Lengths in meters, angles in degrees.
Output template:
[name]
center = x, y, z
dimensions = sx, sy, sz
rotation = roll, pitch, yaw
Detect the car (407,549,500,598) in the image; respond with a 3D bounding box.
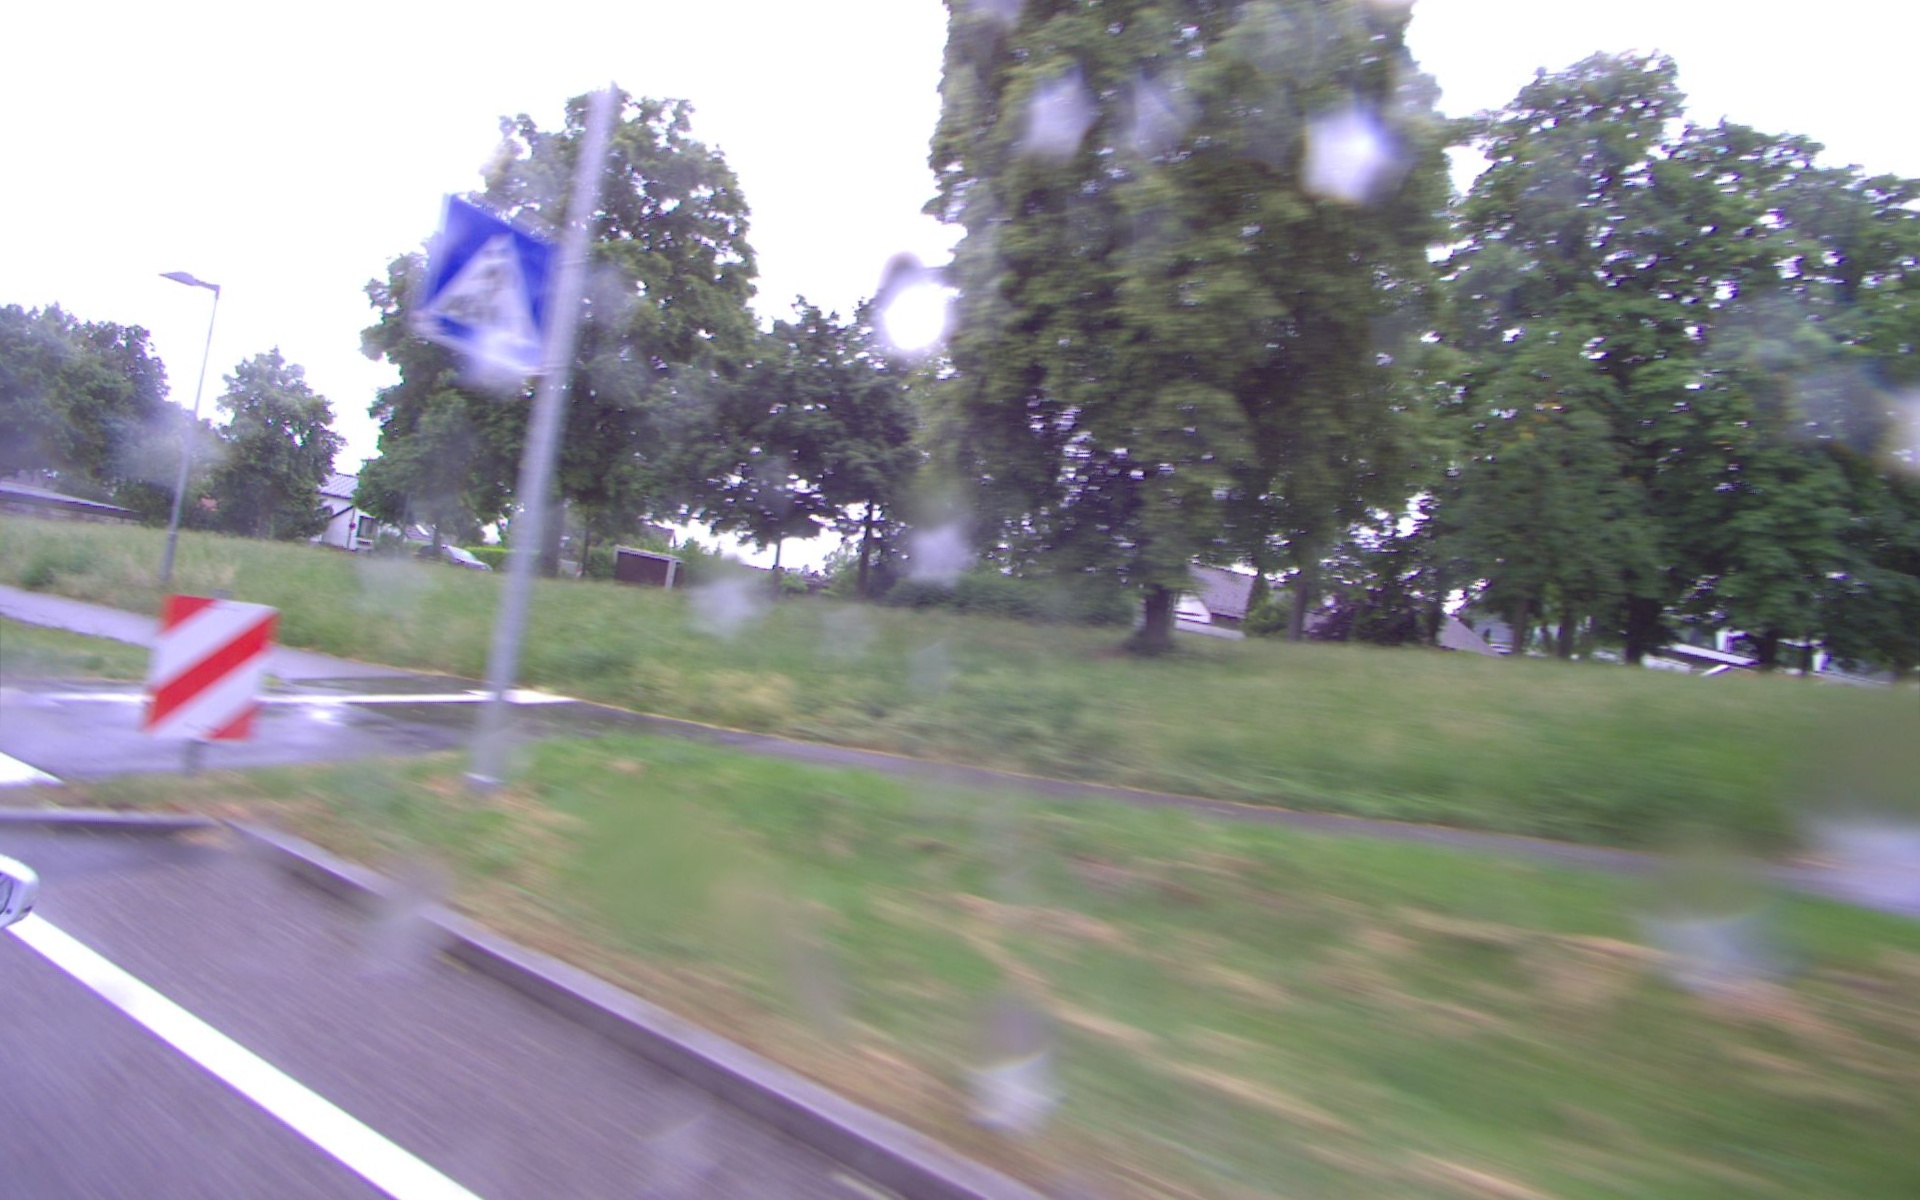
[car]
center = -23.010, -1.215, 45.683
dimensions = 3.933, 1.672, 1.830
rotation = 7, -1, 31
